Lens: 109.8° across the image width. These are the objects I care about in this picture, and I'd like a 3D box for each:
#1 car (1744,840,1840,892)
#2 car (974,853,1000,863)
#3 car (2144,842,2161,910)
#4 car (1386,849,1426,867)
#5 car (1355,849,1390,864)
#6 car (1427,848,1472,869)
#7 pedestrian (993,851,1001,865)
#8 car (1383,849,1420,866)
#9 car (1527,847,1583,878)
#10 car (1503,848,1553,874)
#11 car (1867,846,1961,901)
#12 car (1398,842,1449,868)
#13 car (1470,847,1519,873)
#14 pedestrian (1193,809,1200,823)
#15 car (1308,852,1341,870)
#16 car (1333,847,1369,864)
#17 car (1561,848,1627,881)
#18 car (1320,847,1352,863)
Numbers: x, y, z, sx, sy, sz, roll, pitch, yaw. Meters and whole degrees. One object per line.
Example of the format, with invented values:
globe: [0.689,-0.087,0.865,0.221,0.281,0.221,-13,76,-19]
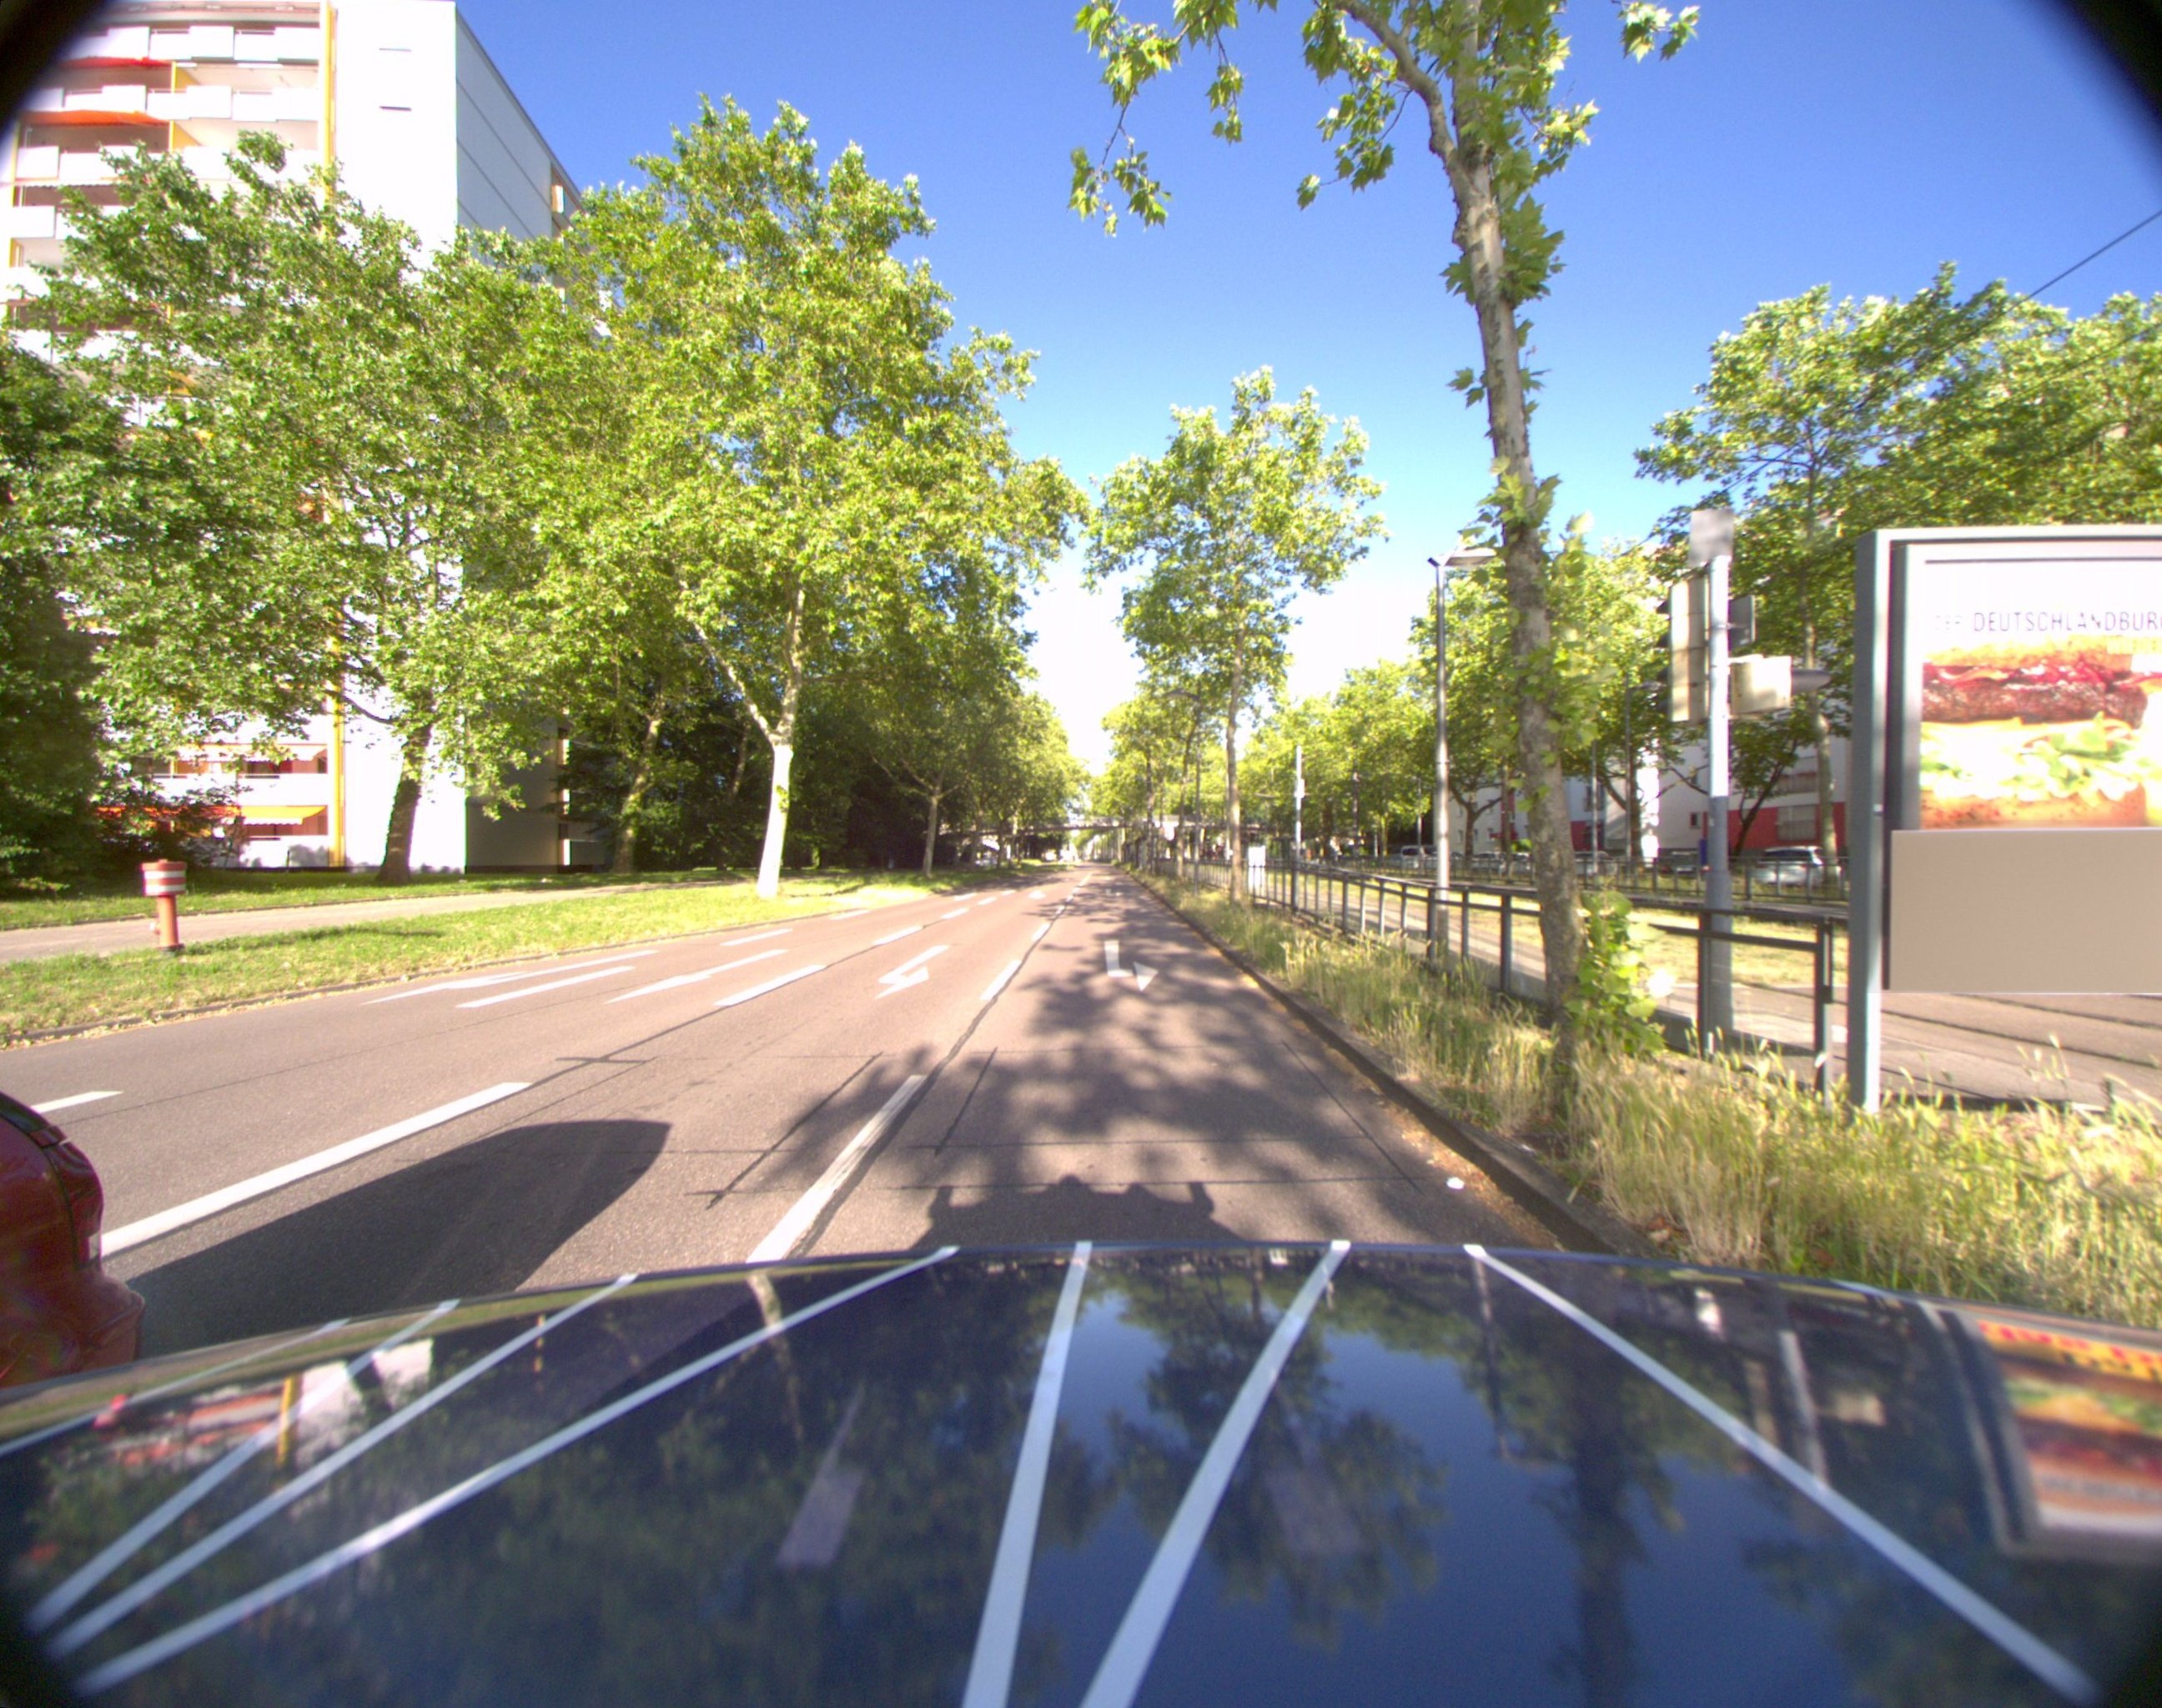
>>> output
car: [25.226,0.403,26.921,4.007,1.586,1.810,-3,1,-37]
car: [-15.003,0.662,121.376,3.999,1.465,1.797,-3,1,-8]
car: [24.627,0.522,16.218,4.007,1.479,1.689,-3,1,-44]
car: [25.821,0.285,60.306,3.494,1.336,1.476,-1,1,-41]
car: [26.665,0.243,69.537,3.494,1.312,1.476,-1,1,-41]
car: [26.227,0.317,53.980,3.494,1.395,1.623,-1,1,-41]
pedestrian: [-12.401,0.582,111.829,0.919,2.002,0.962,-3,1,0]
car: [26.988,0.287,64.037,3.494,1.293,1.476,-1,1,-41]
car: [25.845,0.443,41.421,3.402,1.499,1.461,-3,1,-37]
car: [26.225,0.377,44.531,3.493,1.321,1.476,-3,0,-41]
car: [25.241,0.540,22.993,3.770,1.420,1.555,-3,1,-37]
car: [25.626,0.072,56.826,4.056,1.802,1.864,-1,1,-40]
car: [25.832,0.344,47.422,3.493,1.417,1.558,-3,-1,-42]
pedestrian: [15.446,-5.081,101.452,0.738,1.873,0.511,-3,1,0]
car: [21.260,0.600,66.561,1.810,1.514,4.332,-1,0,5]
car: [26.035,0.137,73.199,3.835,1.561,1.597,-1,1,-43]
car: [25.522,0.518,37.760,3.890,1.406,1.486,-3,1,-37]
car: [26.677,0.106,79.483,3.742,1.517,1.597,-1,1,-43]
